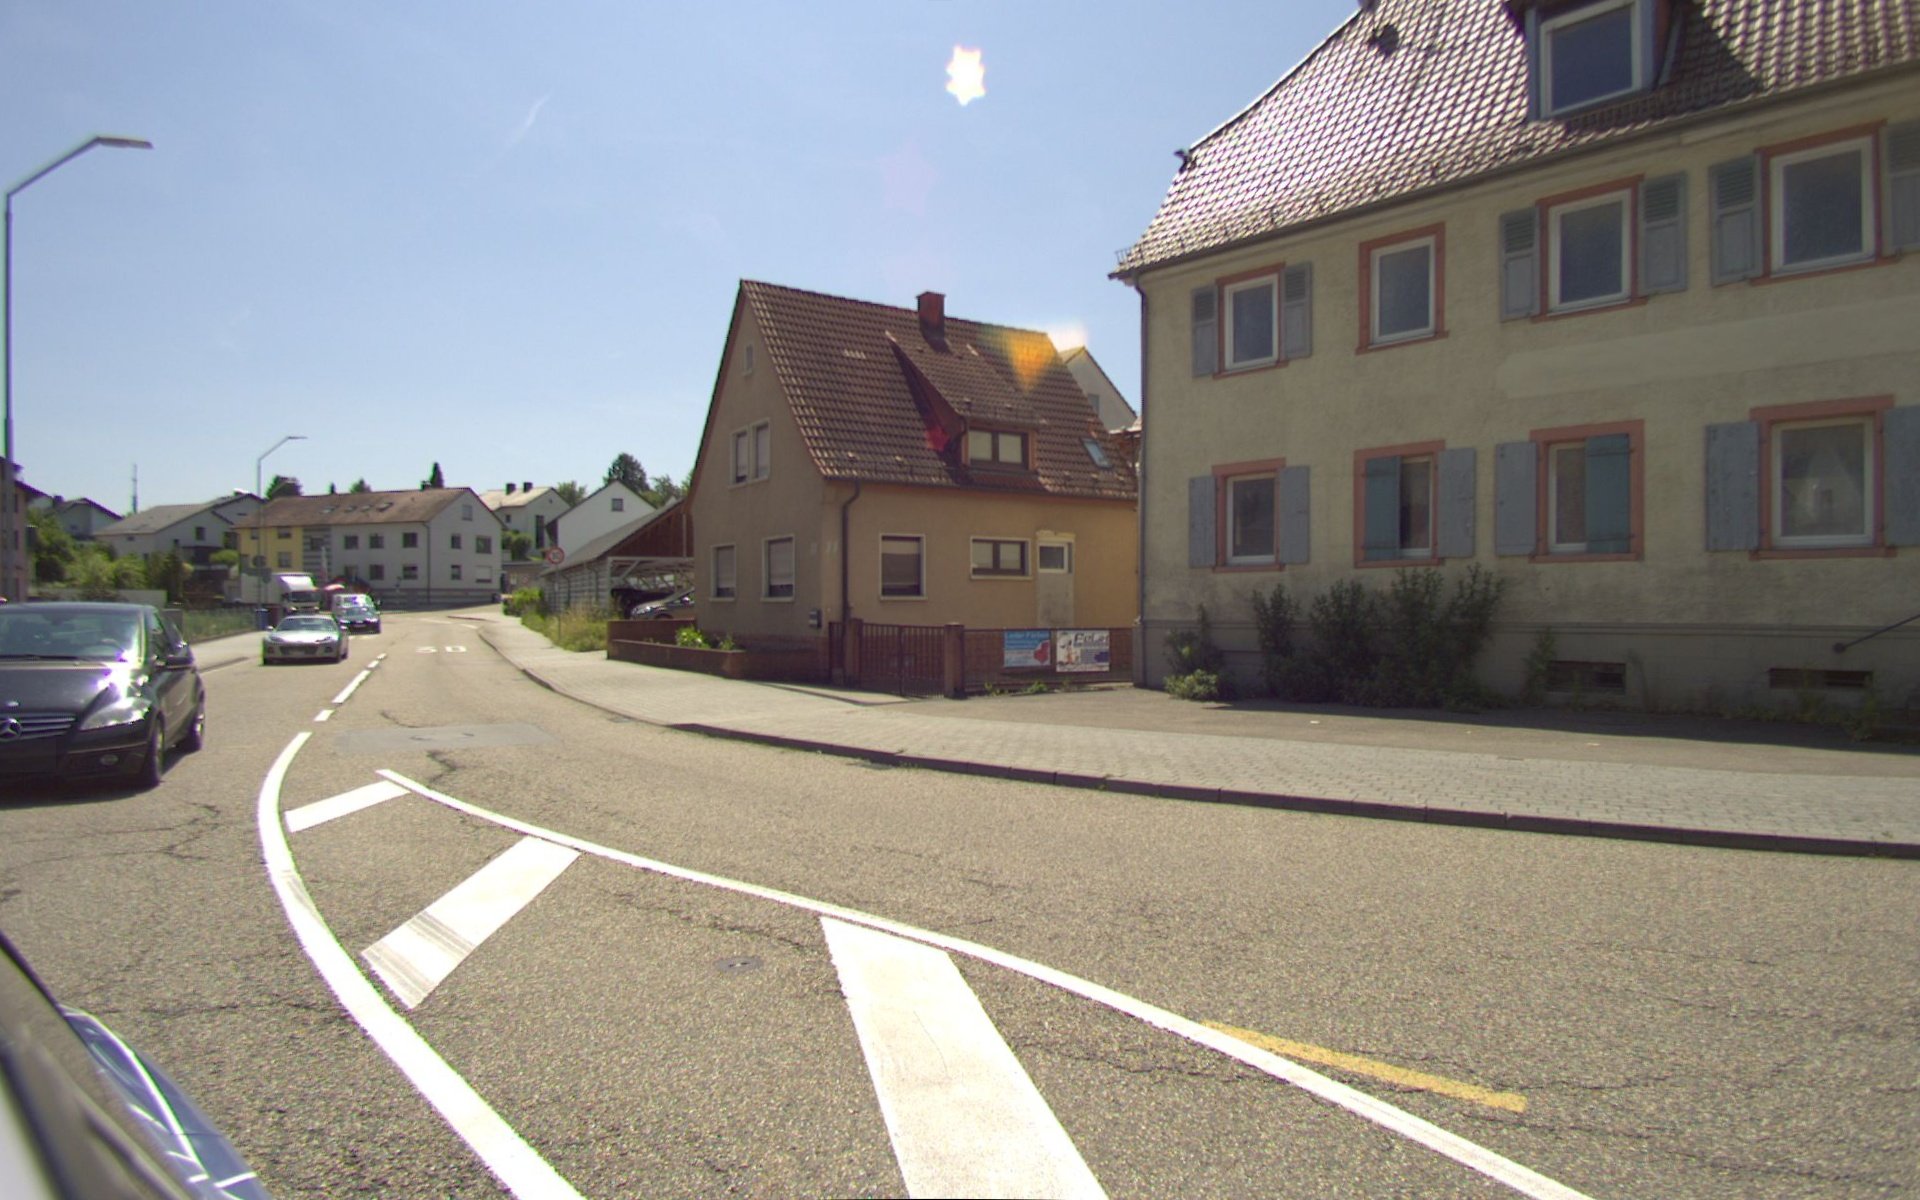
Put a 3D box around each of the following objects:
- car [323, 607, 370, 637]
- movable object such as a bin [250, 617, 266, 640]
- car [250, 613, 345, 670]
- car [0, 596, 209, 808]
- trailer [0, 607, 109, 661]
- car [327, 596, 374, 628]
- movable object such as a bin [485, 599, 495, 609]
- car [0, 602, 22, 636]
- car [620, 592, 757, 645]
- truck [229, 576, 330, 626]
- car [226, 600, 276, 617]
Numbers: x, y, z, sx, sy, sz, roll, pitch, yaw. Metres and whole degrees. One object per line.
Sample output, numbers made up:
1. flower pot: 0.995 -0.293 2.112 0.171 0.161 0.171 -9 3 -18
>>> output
1. car: -30.454 1.052 50.273 1.866 1.386 4.012 -2 1 -31
2. movable object such as a bin: -34.312 1.382 49.445 0.558 1.065 0.652 1 0 -43
3. car: -17.795 1.057 27.342 1.783 1.324 4.013 0 0 -28
4. car: -8.367 0.792 9.469 1.735 1.604 4.210 0 0 -31
5. trailer: -29.729 1.054 30.960 2.132 1.558 5.303 0 1 33
6. car: -38.630 0.723 64.058 1.839 1.922 5.046 -2 1 -38
7. movable object such as a bin: -43.458 0.353 93.661 0.595 0.941 0.597 0 0 17
8. car: -44.052 0.820 44.558 1.760 1.497 3.787 0 -1 39
9. car: -8.951 0.615 33.431 4.066 1.650 1.871 1 0 -26
10. truck: -52.224 0.092 77.630 8.276 3.626 3.172 -1 1 31
11. car: -65.590 0.763 93.635 4.156 1.563 1.725 0 1 19
